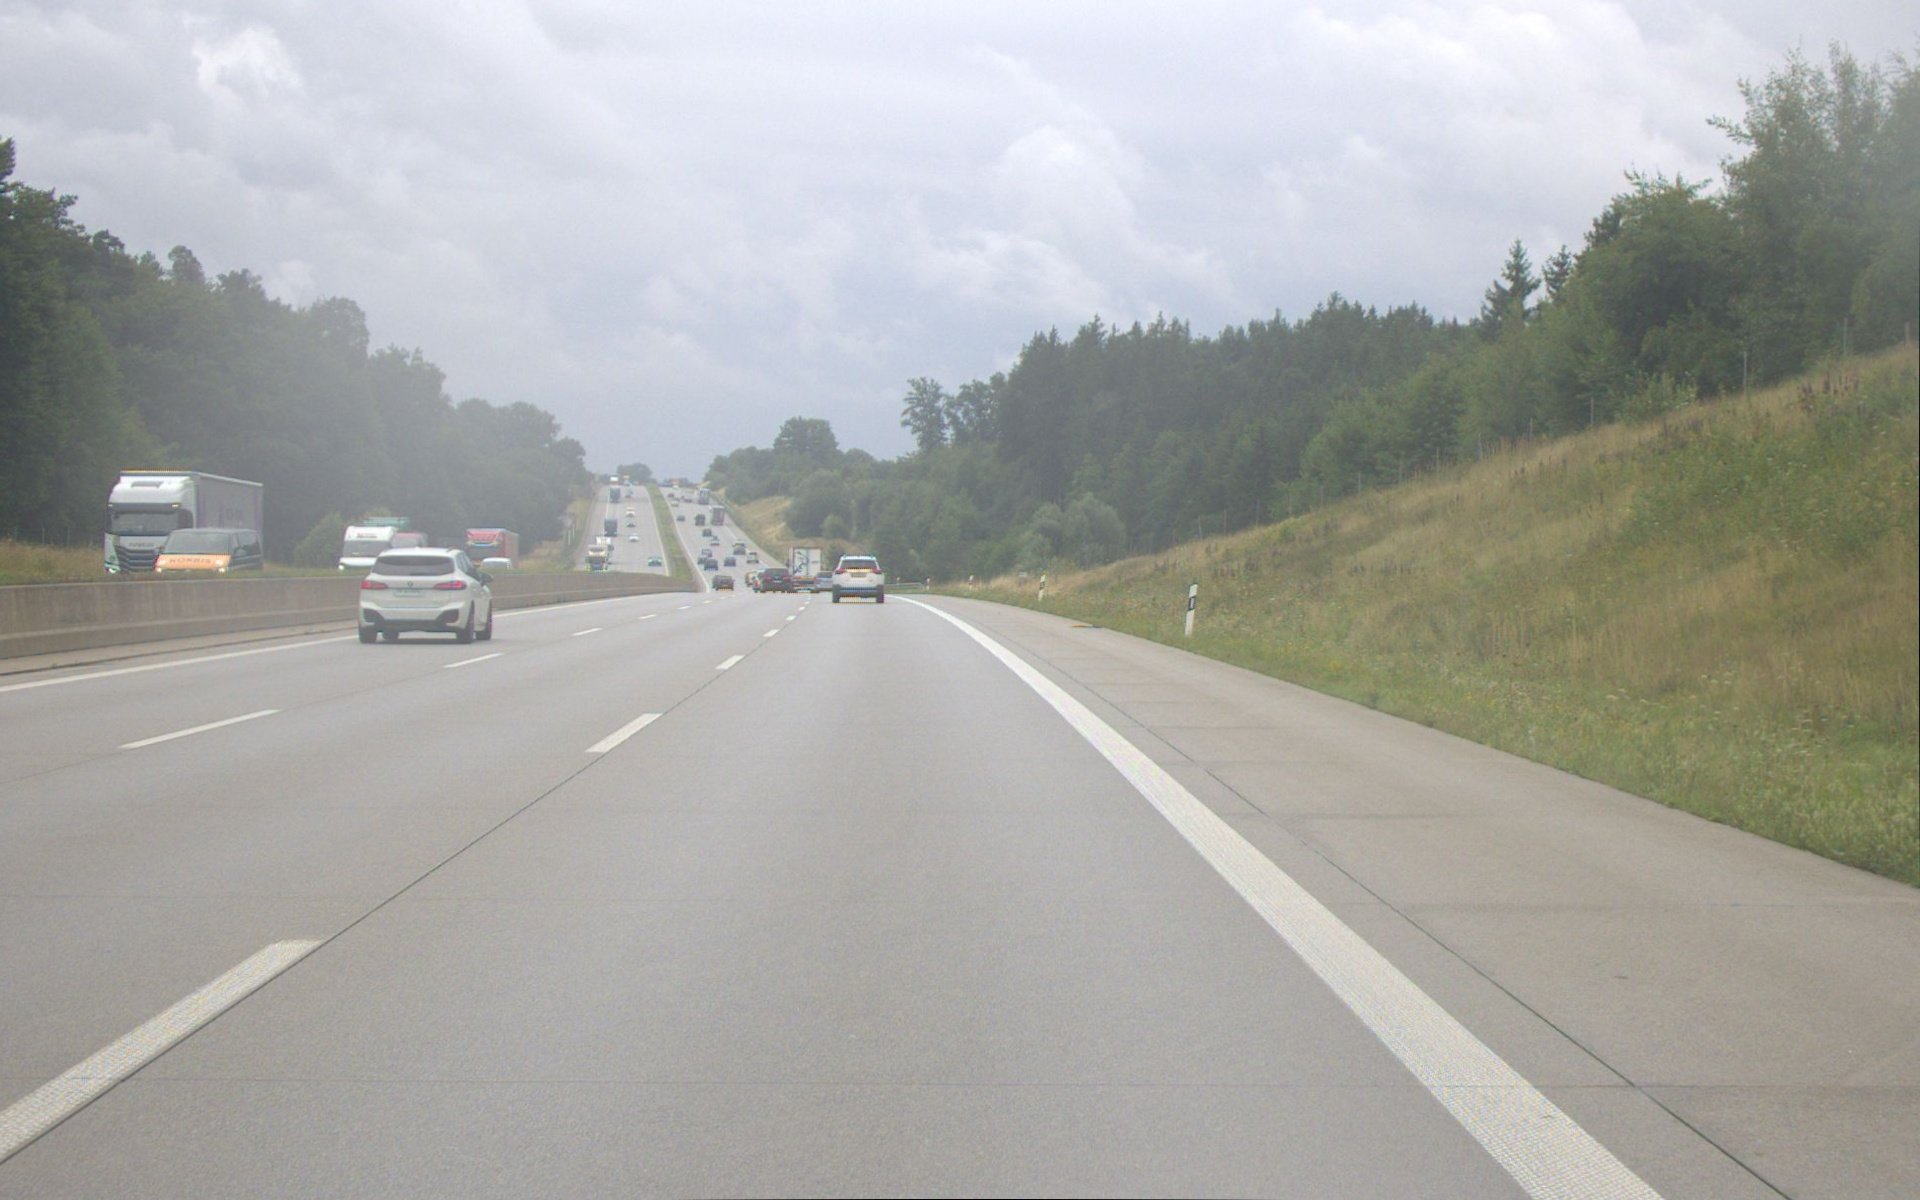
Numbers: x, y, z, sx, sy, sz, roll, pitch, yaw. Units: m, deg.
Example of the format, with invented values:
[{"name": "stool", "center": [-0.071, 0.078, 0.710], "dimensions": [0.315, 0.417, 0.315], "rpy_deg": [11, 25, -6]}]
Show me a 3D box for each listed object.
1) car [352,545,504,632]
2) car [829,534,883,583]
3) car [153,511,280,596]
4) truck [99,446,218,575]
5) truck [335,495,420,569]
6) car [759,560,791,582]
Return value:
[{"name": "car", "center": [-8.690, -0.207, 56.446], "dimensions": [1.947, 1.351, 4.260], "rpy_deg": [1, 1, -2]}, {"name": "car", "center": [-3.684, -1.469, 121.072], "dimensions": [1.825, 1.650, 3.985], "rpy_deg": [2, 1, -2]}, {"name": "car", "center": [-18.374, -1.140, 85.223], "dimensions": [2.061, 2.007, 5.427], "rpy_deg": [1, 1, -1]}, {"name": "truck", "center": [-26.338, -2.910, 113.162], "dimensions": [2.508, 4.111, 6.462], "rpy_deg": [1, 1, -1]}, {"name": "truck", "center": [-22.717, -2.653, 134.369], "dimensions": [2.267, 2.778, 6.512], "rpy_deg": [2, 1, -1]}, {"name": "car", "center": [-11.940, -1.887, 221.826], "dimensions": [1.935, 1.370, 4.595], "rpy_deg": [1, 1, -5]}]
